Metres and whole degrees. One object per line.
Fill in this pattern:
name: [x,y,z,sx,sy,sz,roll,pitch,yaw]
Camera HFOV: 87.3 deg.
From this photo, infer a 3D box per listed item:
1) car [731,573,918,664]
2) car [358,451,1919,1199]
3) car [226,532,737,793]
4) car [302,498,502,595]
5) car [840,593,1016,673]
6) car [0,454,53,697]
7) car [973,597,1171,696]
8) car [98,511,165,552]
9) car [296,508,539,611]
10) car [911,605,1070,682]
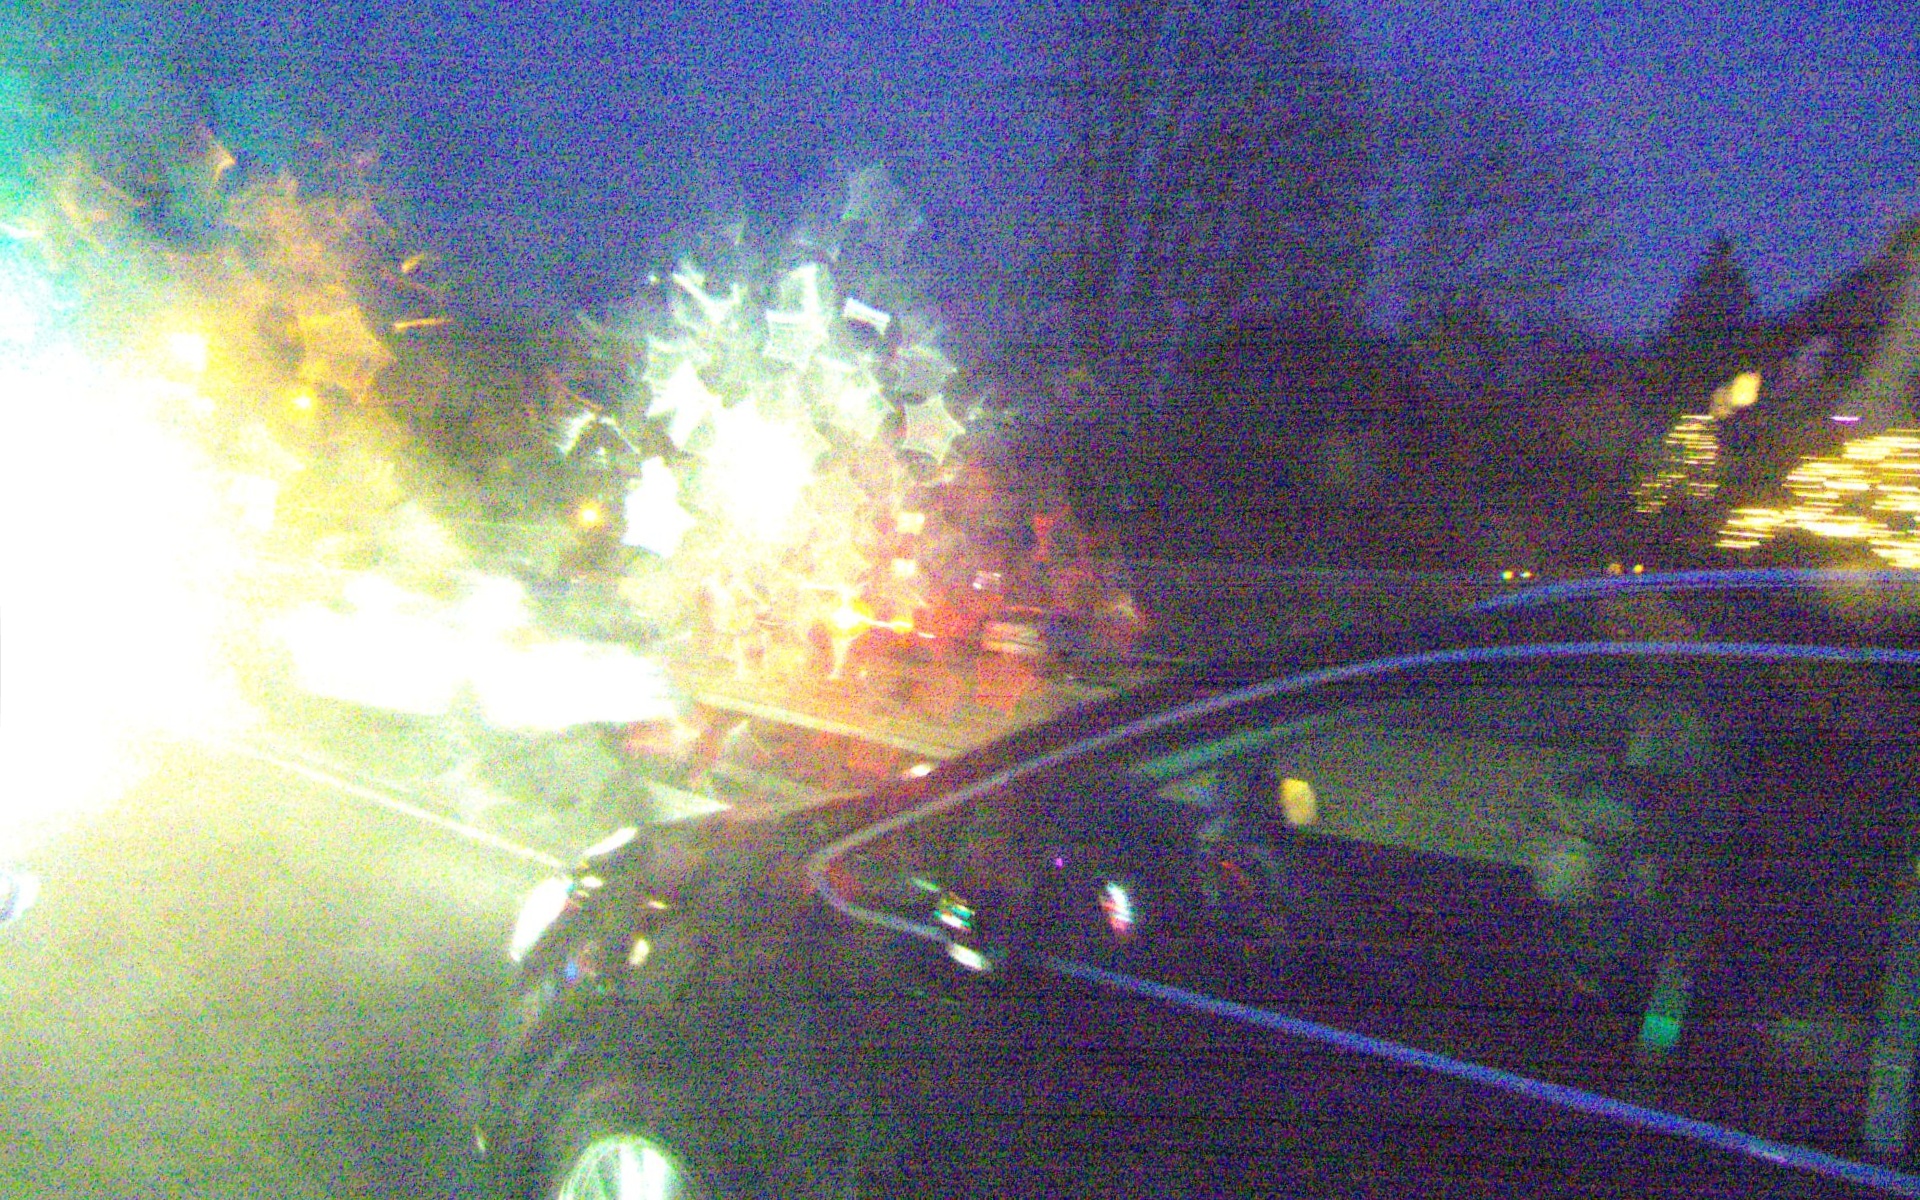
car: [-3.065,0.344,21.871,1.714,1.500,4.656,9,-3,-39]
car: [1.300,0.862,1.676,4.860,1.755,1.838,6,-2,32]
car: [-4.146,0.421,8.572,4.166,1.459,1.788,7,0,30]
car: [-13.103,-1.198,23.780,3.848,1.592,1.820,9,-2,-30]
car: [-0.783,0.838,25.353,3.964,1.446,1.829,9,-3,-34]
car: [-9.684,-0.464,8.249,4.266,1.886,1.857,6,-2,28]
car: [2.377,0.994,20.846,3.921,1.503,1.745,10,-3,-40]
car: [-42.579,-3.510,51.673,4.011,1.688,1.772,6,-3,39]
car: [-11.543,-0.807,21.608,4.297,1.476,1.838,9,-3,-30]
car: [0.750,1.023,23.197,3.484,1.306,1.457,10,-3,-40]
